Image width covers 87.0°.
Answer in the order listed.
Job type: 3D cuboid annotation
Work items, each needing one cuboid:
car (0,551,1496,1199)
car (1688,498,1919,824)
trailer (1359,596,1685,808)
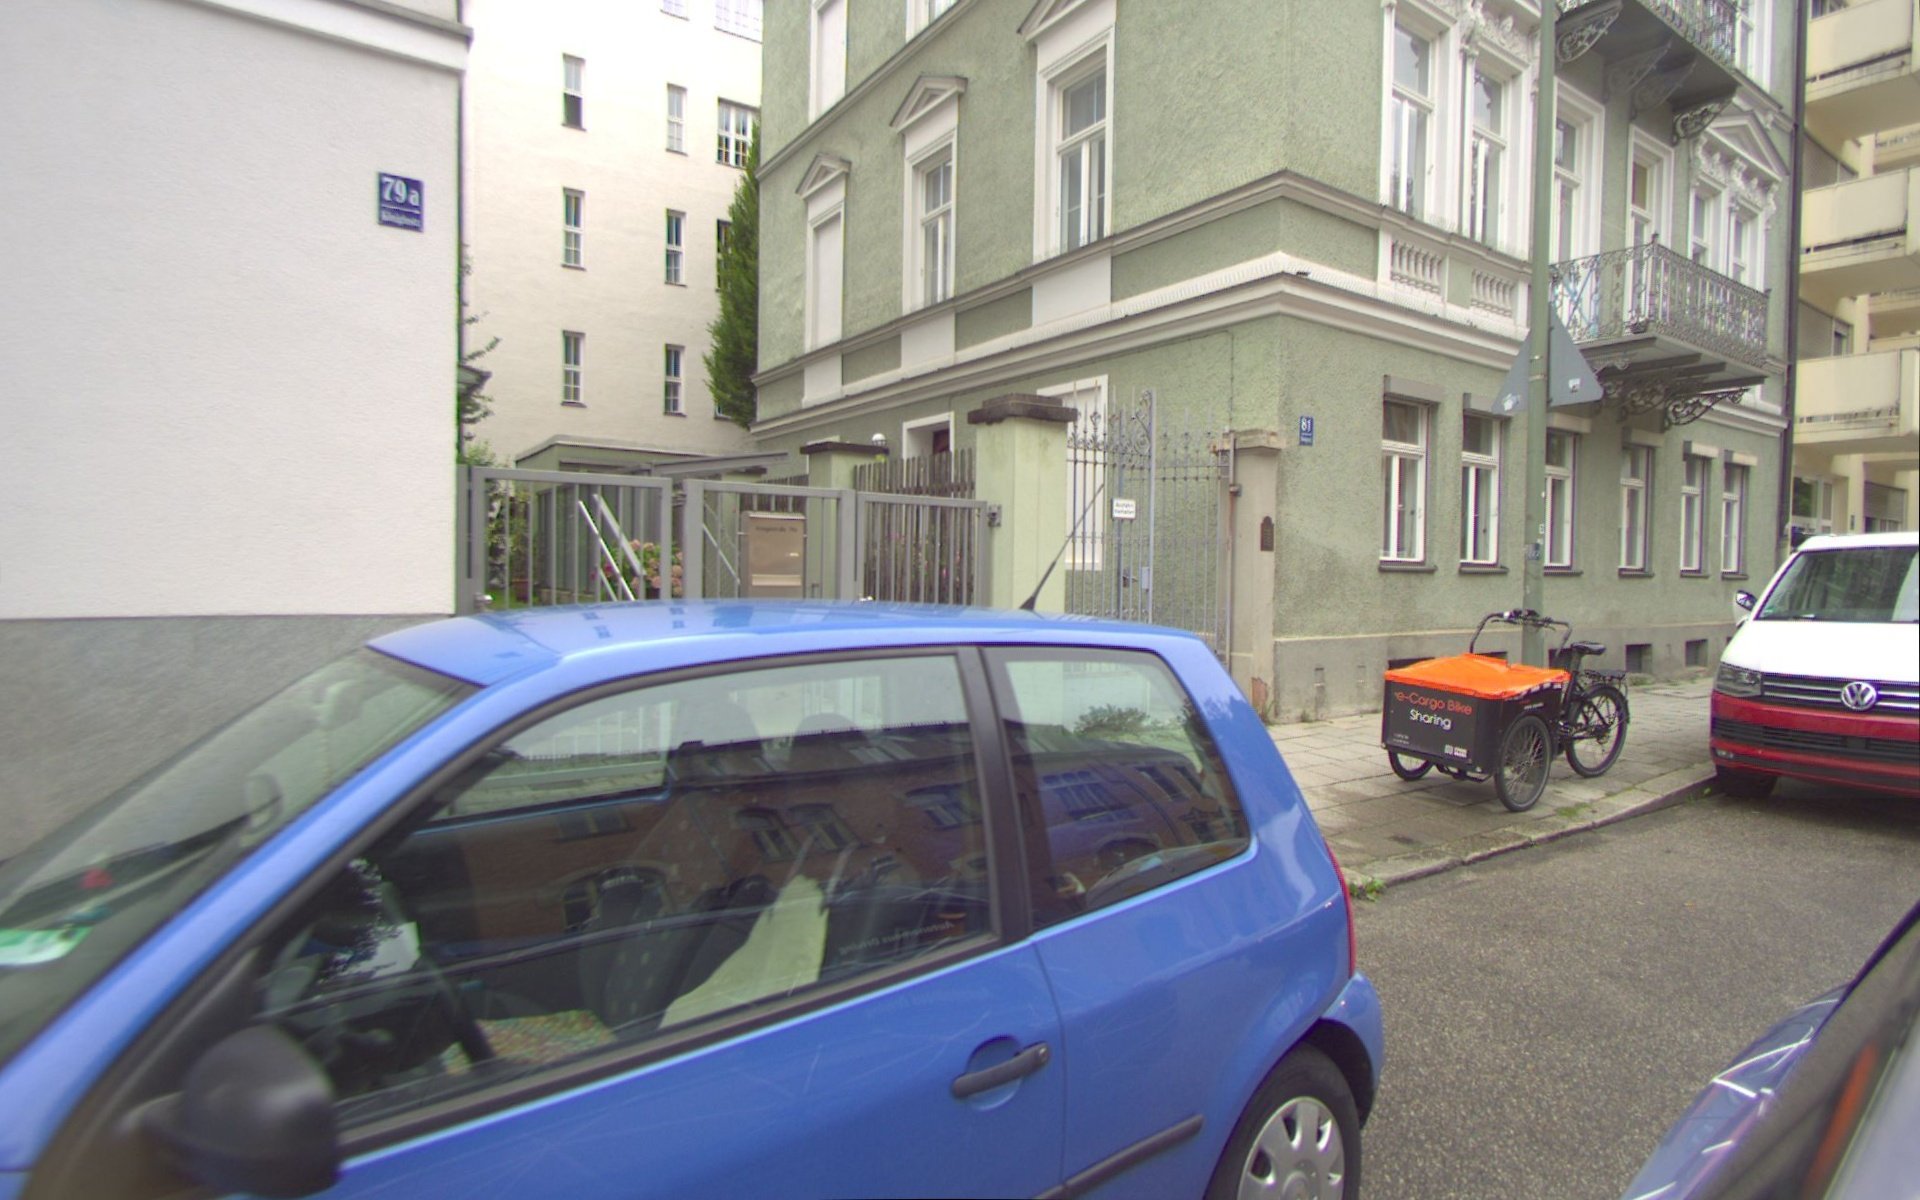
[{"bbox_3d":[-0.614,0.665,1.992,3.488,1.430,1.623,-1,0,-37],"label":"car"},{"bbox_3d":[7.385,0.354,7.431,4.503,1.920,1.860,0,0,-34],"label":"car"},{"bbox_3d":[3.907,0.613,7.009,2.121,1.198,0.947,0,5,-30],"label":"trailer"}]
